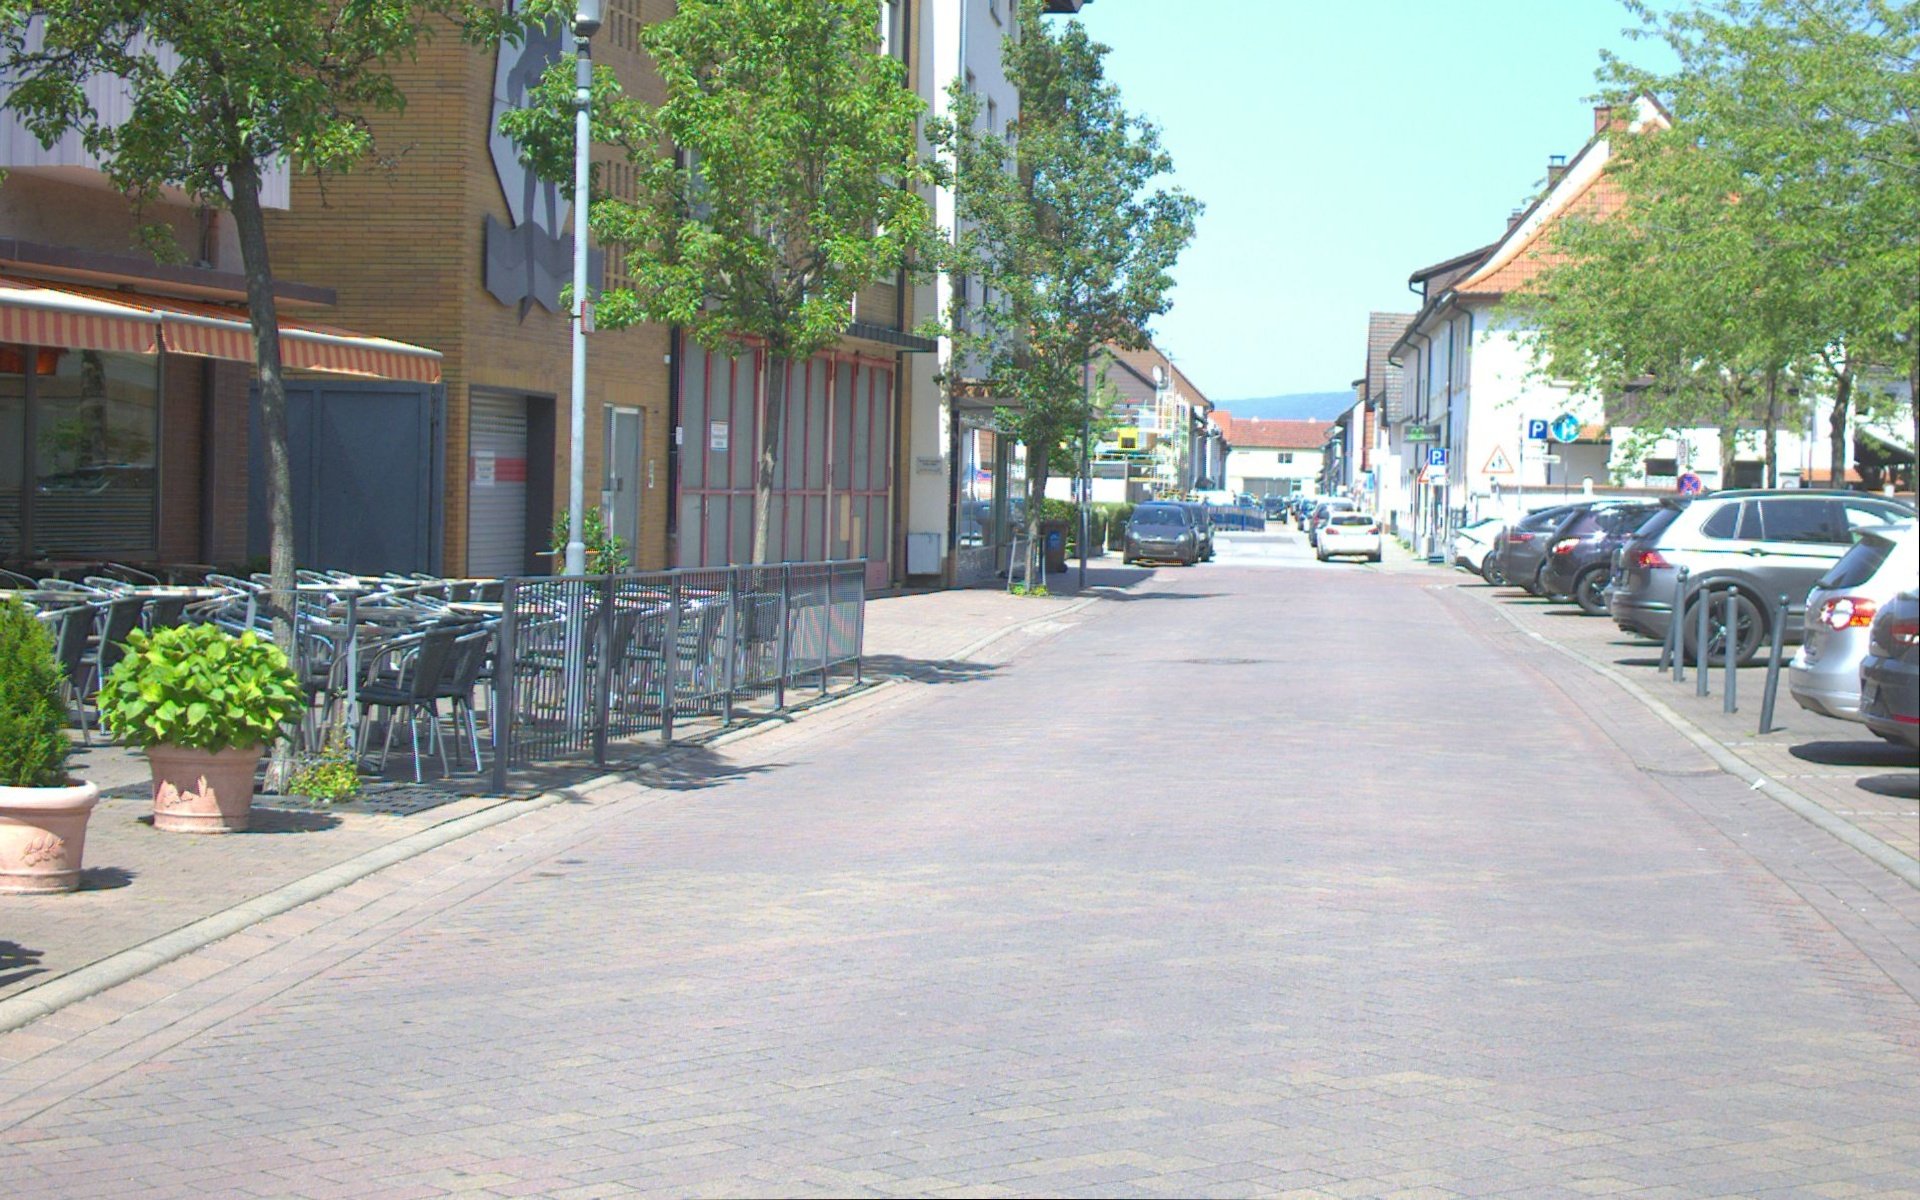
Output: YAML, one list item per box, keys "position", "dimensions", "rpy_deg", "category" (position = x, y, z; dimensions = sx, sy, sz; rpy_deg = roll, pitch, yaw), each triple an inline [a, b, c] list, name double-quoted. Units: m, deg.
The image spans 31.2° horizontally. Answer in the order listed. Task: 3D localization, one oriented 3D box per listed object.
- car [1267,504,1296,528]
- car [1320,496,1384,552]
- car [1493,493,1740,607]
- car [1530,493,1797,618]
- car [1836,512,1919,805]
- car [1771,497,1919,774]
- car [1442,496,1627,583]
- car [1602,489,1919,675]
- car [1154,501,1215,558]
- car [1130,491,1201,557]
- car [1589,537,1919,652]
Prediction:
- position: [20.885, -5.461, 223.035]
  dimensions: [1.747, 1.476, 3.628]
  rpy_deg: [2, 3, 7]
  category: "car"
- position: [11.749, -2.287, 103.091]
  dimensions: [1.832, 1.526, 3.945]
  rpy_deg: [2, 3, 6]
  category: "car"
- position: [9.990, -0.776, 52.502]
  dimensions: [3.522, 1.619, 1.710]
  rpy_deg: [2, 1, 6]
  category: "car"
- position: [9.975, -0.644, 48.931]
  dimensions: [3.522, 1.649, 1.710]
  rpy_deg: [2, 1, 6]
  category: "car"
- position: [6.685, 0.319, 18.040]
  dimensions: [3.939, 1.484, 1.715]
  rpy_deg: [1, 2, 12]
  category: "car"
- position: [7.112, 0.233, 20.673]
  dimensions: [4.154, 1.568, 1.758]
  rpy_deg: [2, 3, 8]
  category: "car"
- position: [11.507, -1.213, 68.981]
  dimensions: [3.478, 1.694, 1.536]
  rpy_deg: [0, 1, 2]
  category: "car"
- position: [8.182, -0.169, 31.788]
  dimensions: [4.245, 1.610, 1.558]
  rpy_deg: [2, 2, 6]
  category: "car"
- position: [6.338, -2.001, 96.805]
  dimensions: [1.508, 1.495, 3.826]
  rpy_deg: [2, 3, 6]
  category: "car"
- position: [5.100, -1.904, 84.912]
  dimensions: [1.508, 1.495, 3.826]
  rpy_deg: [2, 3, 6]
  category: "car"
- position: [8.774, -0.069, 37.660]
  dimensions: [3.522, 1.137, 1.274]
  rpy_deg: [1, 1, 2]
  category: "car"
